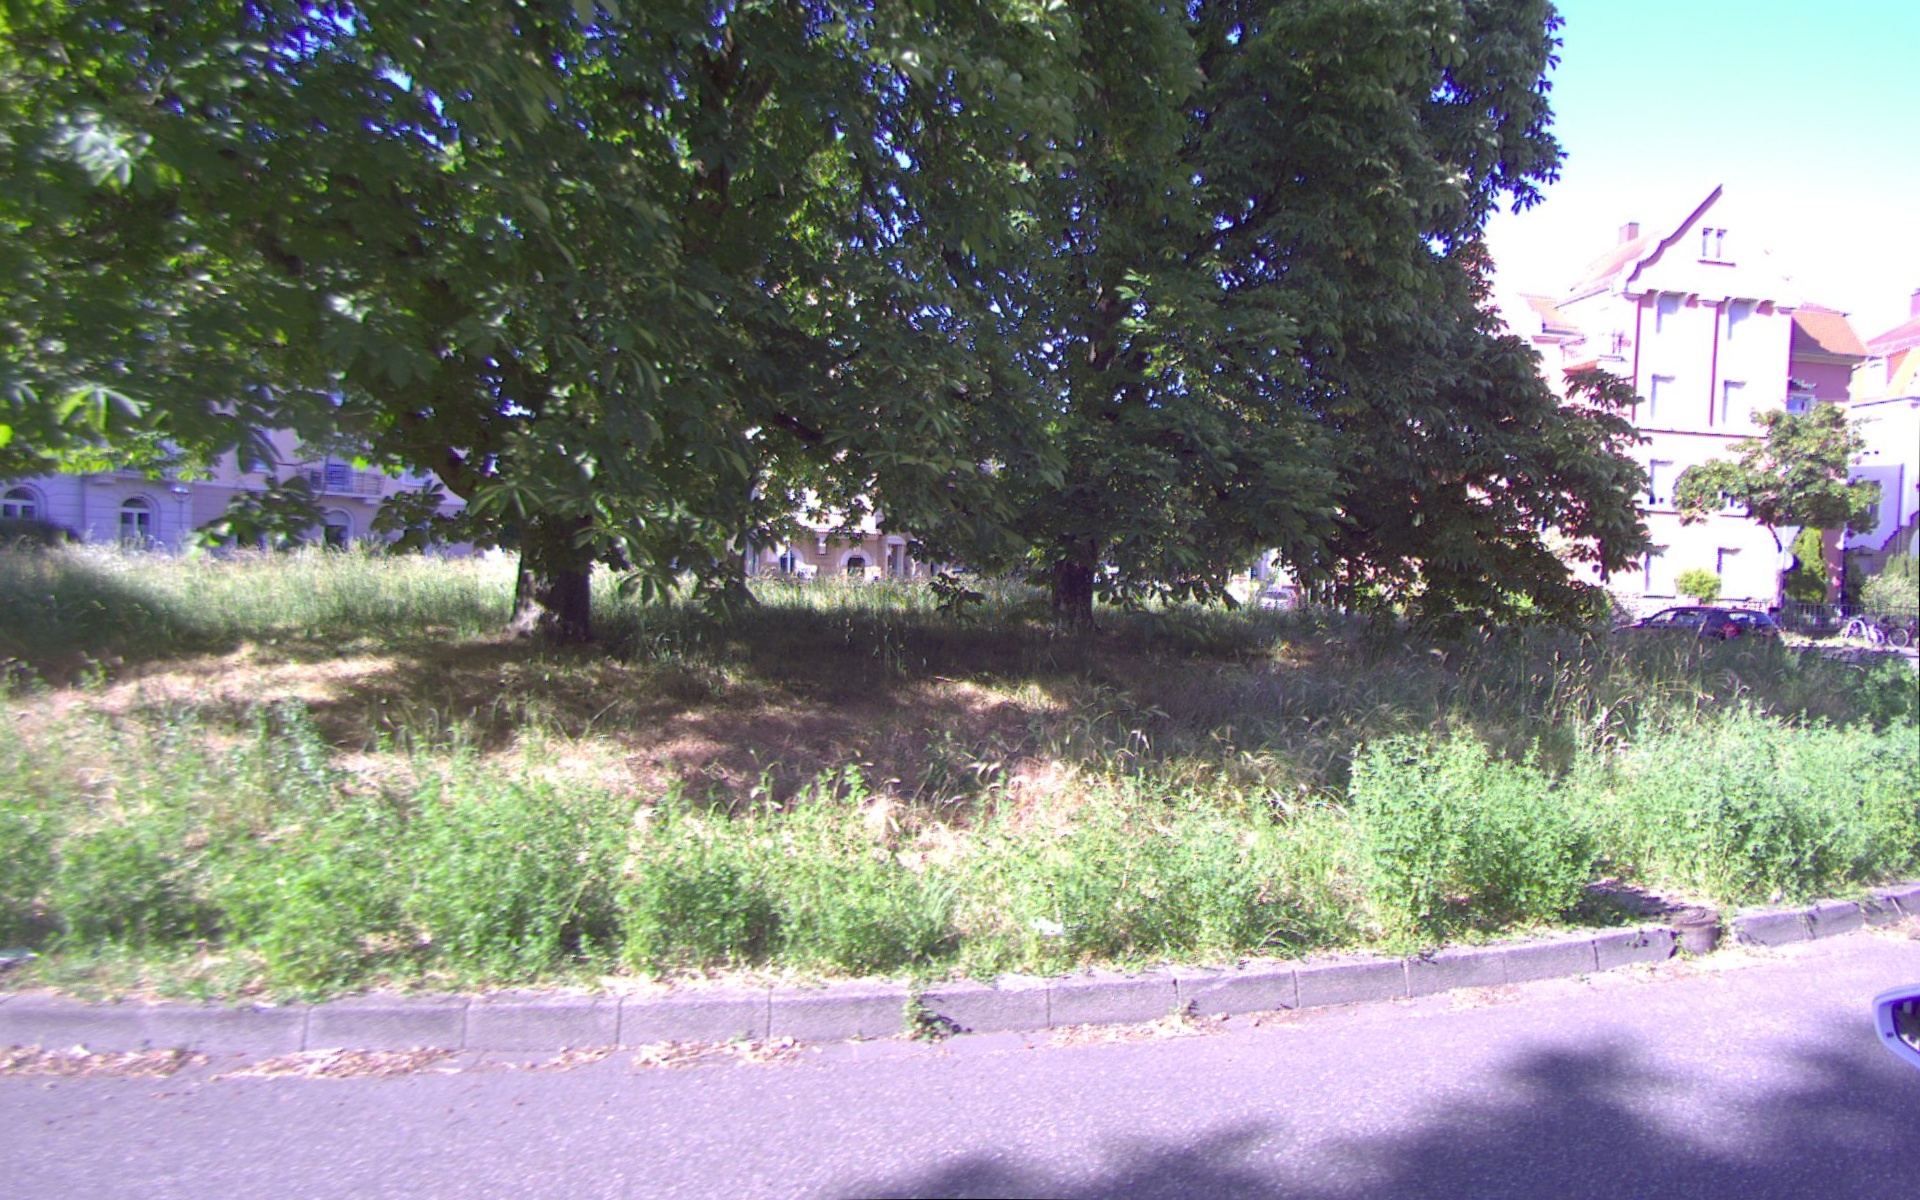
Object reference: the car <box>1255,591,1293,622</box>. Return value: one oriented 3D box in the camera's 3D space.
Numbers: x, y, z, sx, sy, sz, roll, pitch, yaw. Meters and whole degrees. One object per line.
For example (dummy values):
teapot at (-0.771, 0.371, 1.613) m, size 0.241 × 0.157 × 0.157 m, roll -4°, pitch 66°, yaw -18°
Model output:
car at (16.131, 0.311, 51.501) m, size 1.655 × 1.466 × 3.546 m, roll 3°, pitch 1°, yaw 19°

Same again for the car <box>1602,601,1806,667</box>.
car at (18.135, 0.769, 24.742) m, size 1.835 × 1.438 × 3.997 m, roll 1°, pitch 0°, yaw -5°

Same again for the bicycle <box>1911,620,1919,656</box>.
bicycle at (30.665, 1.201, 31.023) m, size 1.825 × 1.122 × 0.596 m, roll 1°, pitch 0°, yaw 13°

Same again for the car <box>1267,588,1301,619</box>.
car at (18.121, 0.158, 56.143) m, size 1.655 × 1.583 × 4.295 m, roll 3°, pitch 1°, yaw 19°

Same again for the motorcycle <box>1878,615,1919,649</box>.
motorcycle at (34.374, 1.158, 36.306) m, size 0.492 × 1.122 × 1.721 m, roll 1°, pitch 3°, yaw -15°

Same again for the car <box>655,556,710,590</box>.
car at (-16.985, -1.661, 61.268) m, size 2.117 × 1.935 × 4.523 m, roll 1°, pitch 1°, yaw -31°

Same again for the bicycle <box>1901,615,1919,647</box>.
bicycle at (35.534, 1.183, 36.648) m, size 0.492 × 1.122 × 1.722 m, roll 1°, pitch 3°, yaw -12°

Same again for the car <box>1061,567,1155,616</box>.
car at (8.846, -0.565, 60.776) m, size 2.079 × 2.635 × 6.325 m, roll 2°, pitch 2°, yaw -30°

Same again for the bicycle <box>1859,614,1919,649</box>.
bicycle at (33.686, 1.115, 36.220) m, size 0.494 × 1.122 × 1.819 m, roll 0°, pitch 3°, yaw -24°

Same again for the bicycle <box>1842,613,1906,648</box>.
bicycle at (32.885, 1.090, 36.168) m, size 0.536 × 1.130 × 1.724 m, roll 1°, pitch 3°, yaw -8°

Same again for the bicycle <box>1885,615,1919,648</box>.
bicycle at (34.890, 1.166, 36.562) m, size 0.492 × 1.122 × 1.721 m, roll 1°, pitch 3°, yaw -15°

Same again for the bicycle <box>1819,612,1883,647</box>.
bicycle at (31.958, 1.047, 36.053) m, size 0.536 × 1.130 × 1.724 m, roll 1°, pitch 3°, yaw -8°
